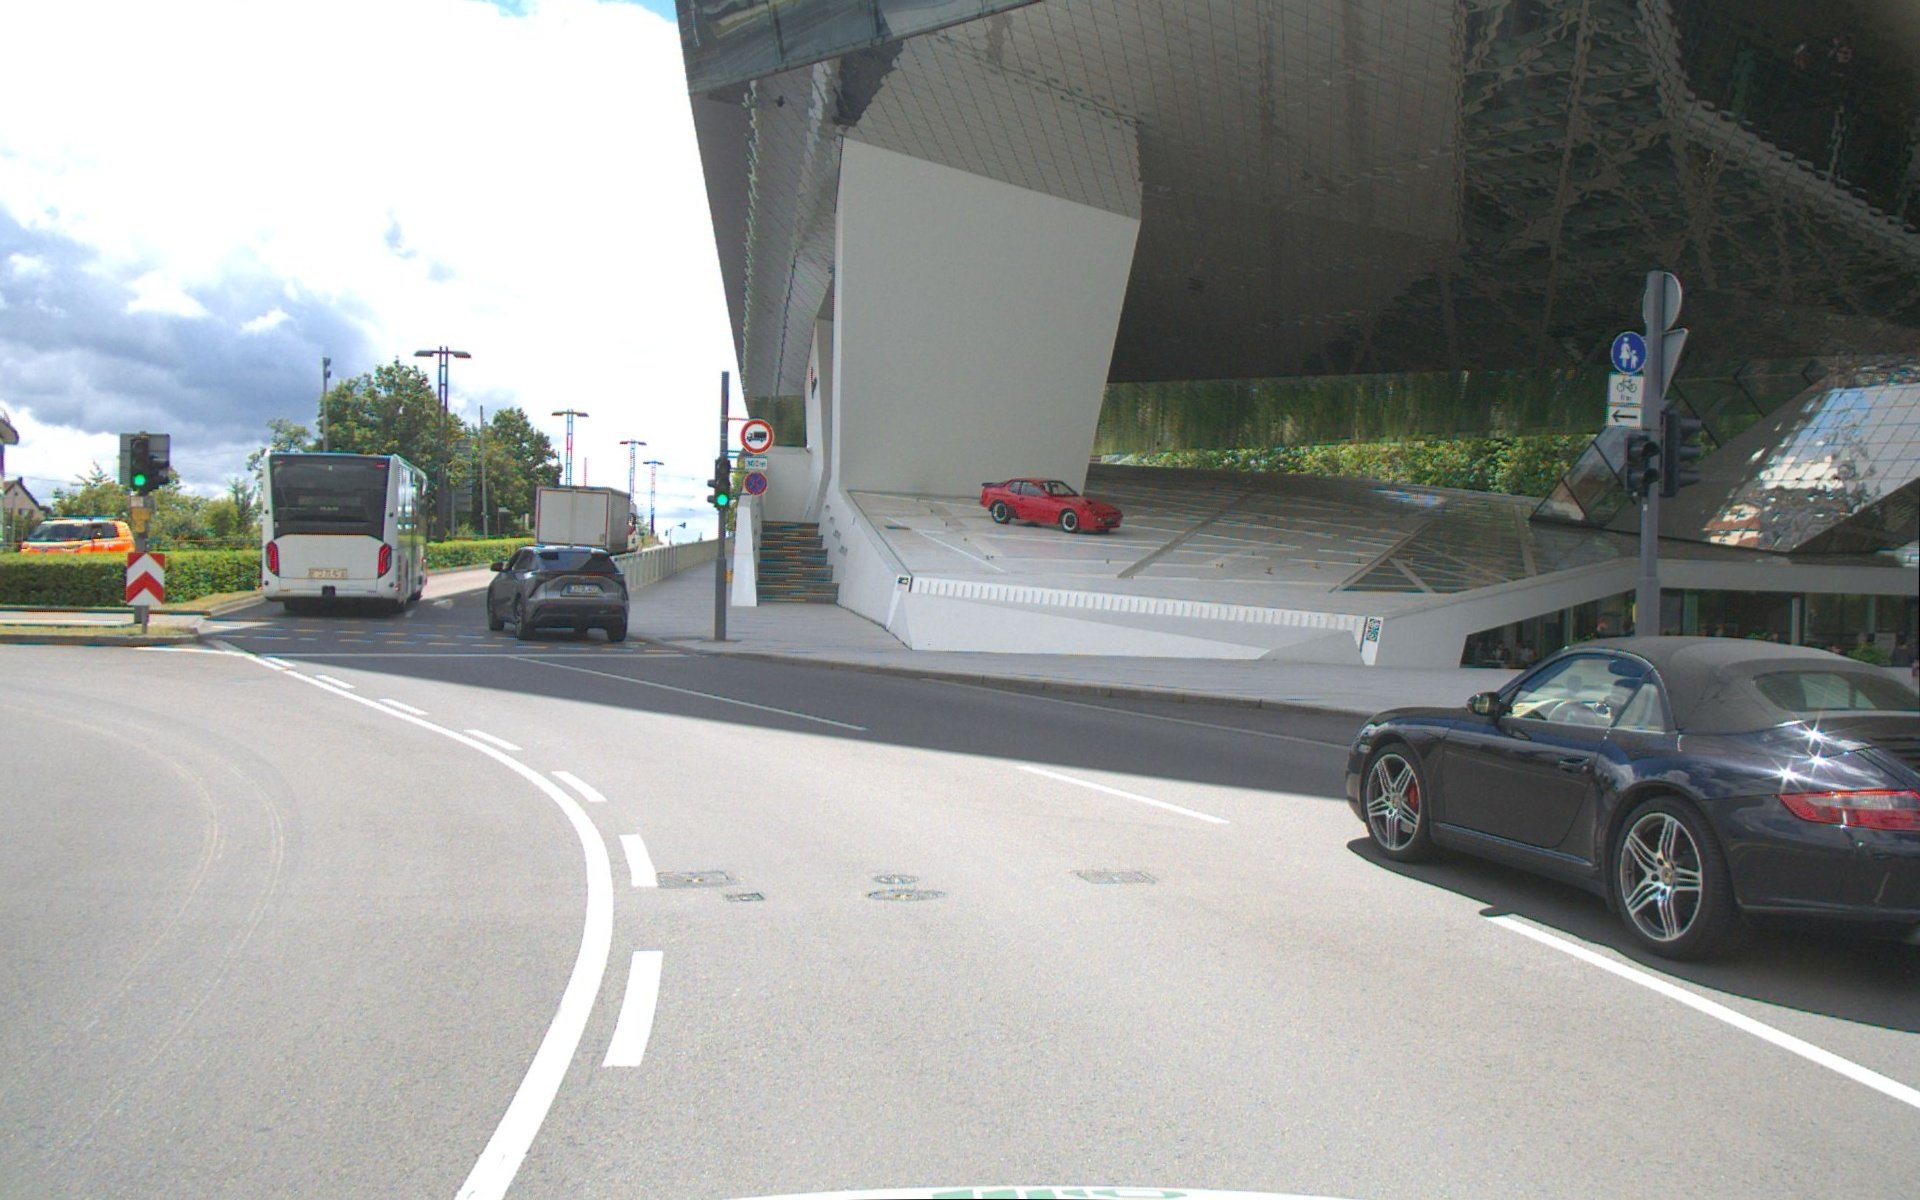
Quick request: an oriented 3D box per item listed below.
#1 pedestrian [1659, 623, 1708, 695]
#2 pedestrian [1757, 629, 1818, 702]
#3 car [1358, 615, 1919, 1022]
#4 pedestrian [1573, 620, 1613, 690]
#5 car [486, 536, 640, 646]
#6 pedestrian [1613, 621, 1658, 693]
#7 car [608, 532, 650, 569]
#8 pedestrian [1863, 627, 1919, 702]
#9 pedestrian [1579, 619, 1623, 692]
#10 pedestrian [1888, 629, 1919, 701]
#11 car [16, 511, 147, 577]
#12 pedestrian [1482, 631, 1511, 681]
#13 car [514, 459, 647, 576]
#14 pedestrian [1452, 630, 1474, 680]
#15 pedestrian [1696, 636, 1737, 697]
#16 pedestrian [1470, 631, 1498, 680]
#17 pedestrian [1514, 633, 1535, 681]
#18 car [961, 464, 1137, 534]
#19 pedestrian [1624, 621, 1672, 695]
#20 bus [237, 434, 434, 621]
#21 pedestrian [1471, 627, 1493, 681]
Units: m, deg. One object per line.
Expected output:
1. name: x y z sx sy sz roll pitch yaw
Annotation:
1. pedestrian: 16.525 1.350 37.767 0.688 1.600 0.783 4 -1 -44
2. pedestrian: 19.000 1.500 38.008 0.814 1.600 0.920 3 -1 -15
3. car: 3.648 0.807 8.006 1.802 1.348 3.988 1 1 -12
4. pedestrian: 14.898 1.288 38.914 0.811 1.600 0.923 2 -1 21
5. car: -7.125 -0.210 29.408 1.967 1.664 3.973 2 3 -23
6. pedestrian: 15.678 1.318 38.398 0.901 1.600 0.830 2 -1 20
7. car: -19.508 -2.880 97.618 1.955 1.937 3.994 3 -1 -6
8. pedestrian: 20.930 1.438 37.024 0.814 1.600 0.920 3 -1 -15
9. pedestrian: 14.609 1.258 37.714 0.810 1.600 0.924 2 -1 16
10. pedestrian: 21.876 1.480 37.689 0.814 1.600 0.920 3 -1 -15
11. car: -28.445 -1.792 53.749 1.954 2.018 4.833 1 1 -4
12. pedestrian: 13.934 1.460 42.951 0.550 1.275 0.472 2 -1 34
13. car: -13.772 -2.860 60.856 3.270 3.565 9.332 3 -1 -5
14. pedestrian: 13.093 1.421 43.071 0.386 1.275 0.562 2 -1 4
15. pedestrian: 17.037 1.497 37.225 0.633 1.341 0.689 2 -1 42
16. pedestrian: 13.853 1.467 43.730 0.550 1.275 0.472 2 -1 34
17. pedestrian: 15.340 1.556 44.965 0.462 1.275 0.562 2 -1 16
18. car: 2.381 -2.782 45.063 4.435 1.417 1.989 11 10 40
19. pedestrian: 15.454 1.291 37.171 0.901 1.600 0.830 2 -1 20
20. bus: -13.846 -1.742 37.663 3.022 3.419 12.175 3 3 -16
21. pedestrian: 12.706 1.314 40.260 0.386 1.275 0.400 2 -1 4
